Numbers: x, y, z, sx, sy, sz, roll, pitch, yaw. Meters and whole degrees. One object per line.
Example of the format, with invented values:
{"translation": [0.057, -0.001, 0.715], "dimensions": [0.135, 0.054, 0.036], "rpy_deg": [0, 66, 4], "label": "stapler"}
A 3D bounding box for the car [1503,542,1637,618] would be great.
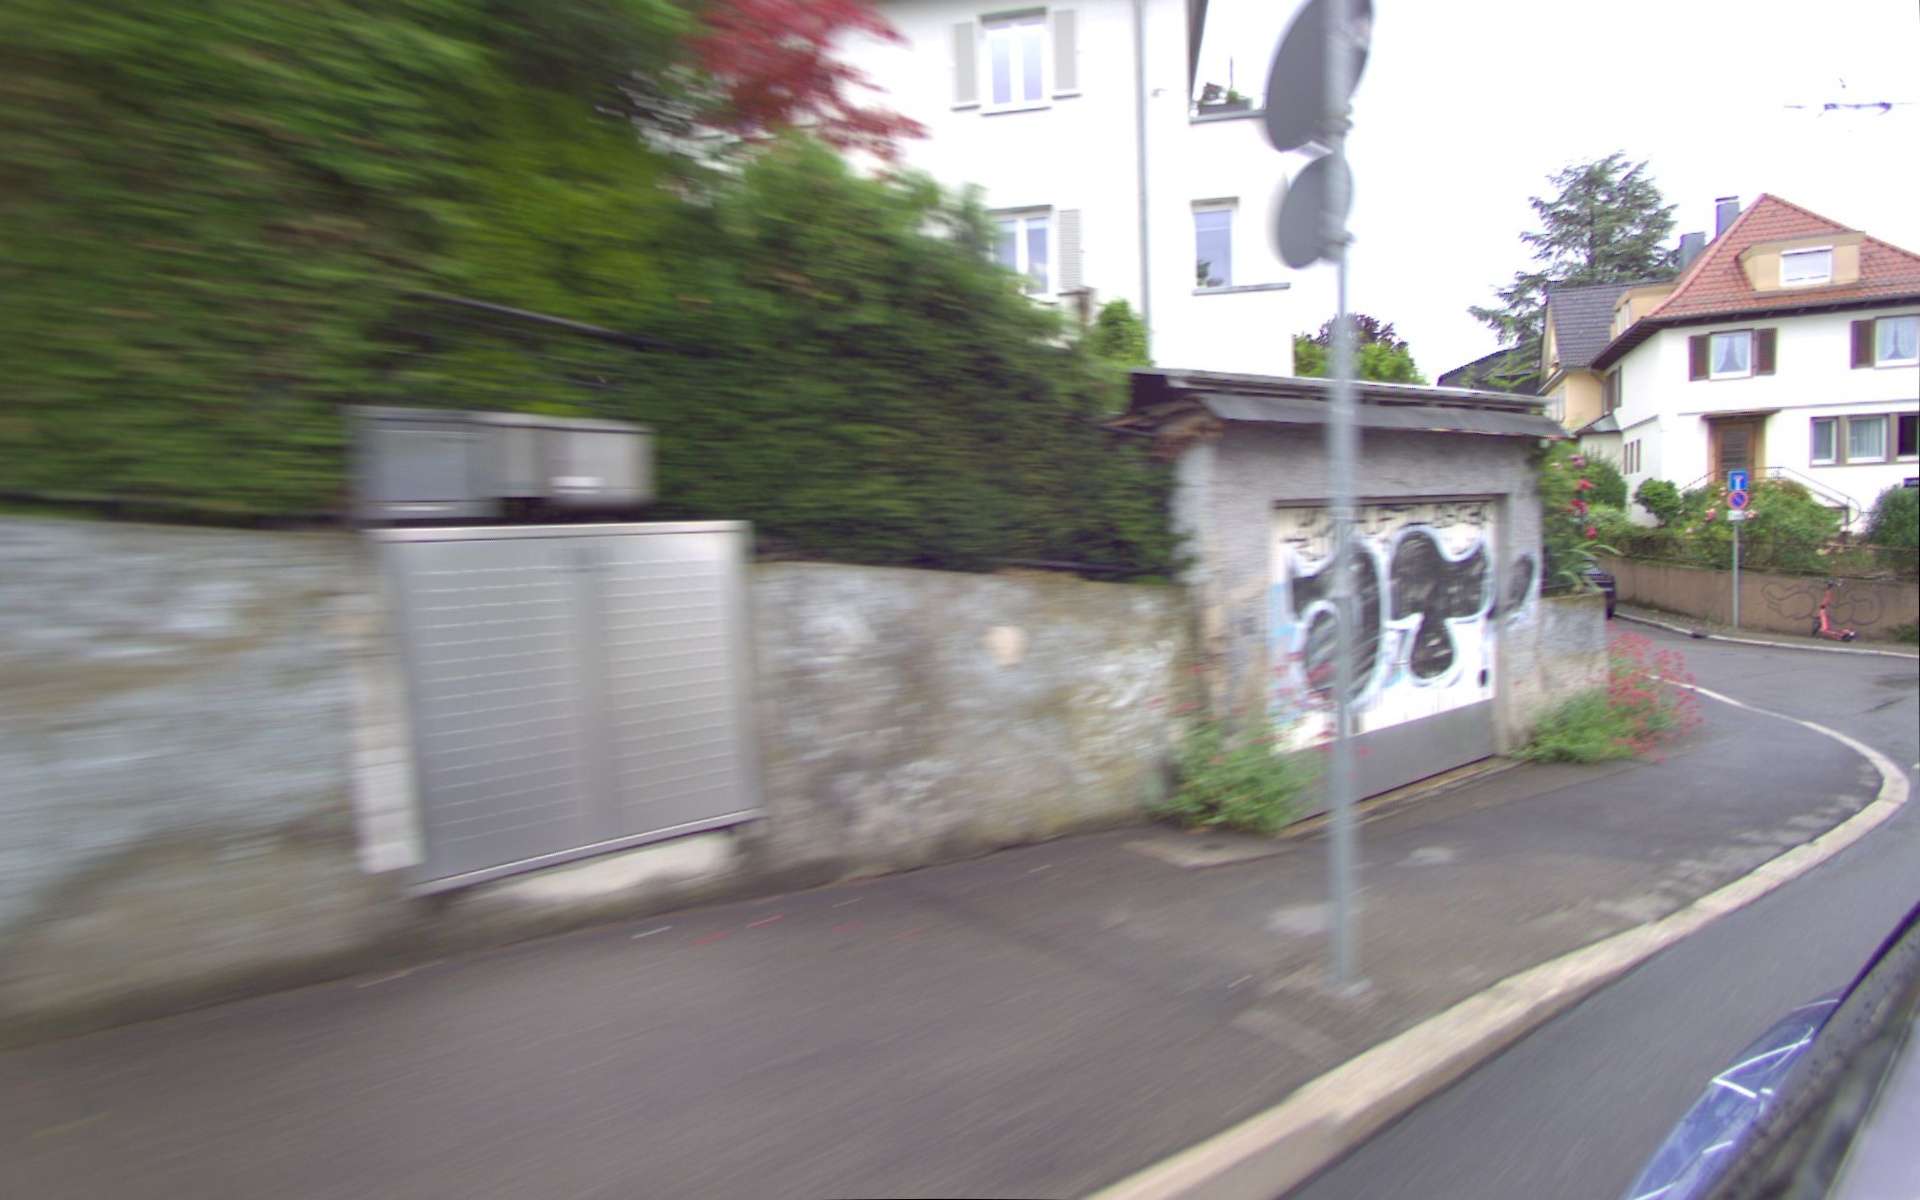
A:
{"translation": [16.695, -0.637, 27.974], "dimensions": [1.971, 1.702, 4.357], "rpy_deg": [0, 6, 15], "label": "car"}

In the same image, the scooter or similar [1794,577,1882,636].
{"translation": [18.749, 0.107, 21.662], "dimensions": [0.643, 1.069, 1.556], "rpy_deg": [2, 6, 10], "label": "scooter or similar"}

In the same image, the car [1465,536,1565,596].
{"translation": [18.195, -1.169, 33.383], "dimensions": [1.848, 1.661, 4.355], "rpy_deg": [-1, 5, 15], "label": "car"}
